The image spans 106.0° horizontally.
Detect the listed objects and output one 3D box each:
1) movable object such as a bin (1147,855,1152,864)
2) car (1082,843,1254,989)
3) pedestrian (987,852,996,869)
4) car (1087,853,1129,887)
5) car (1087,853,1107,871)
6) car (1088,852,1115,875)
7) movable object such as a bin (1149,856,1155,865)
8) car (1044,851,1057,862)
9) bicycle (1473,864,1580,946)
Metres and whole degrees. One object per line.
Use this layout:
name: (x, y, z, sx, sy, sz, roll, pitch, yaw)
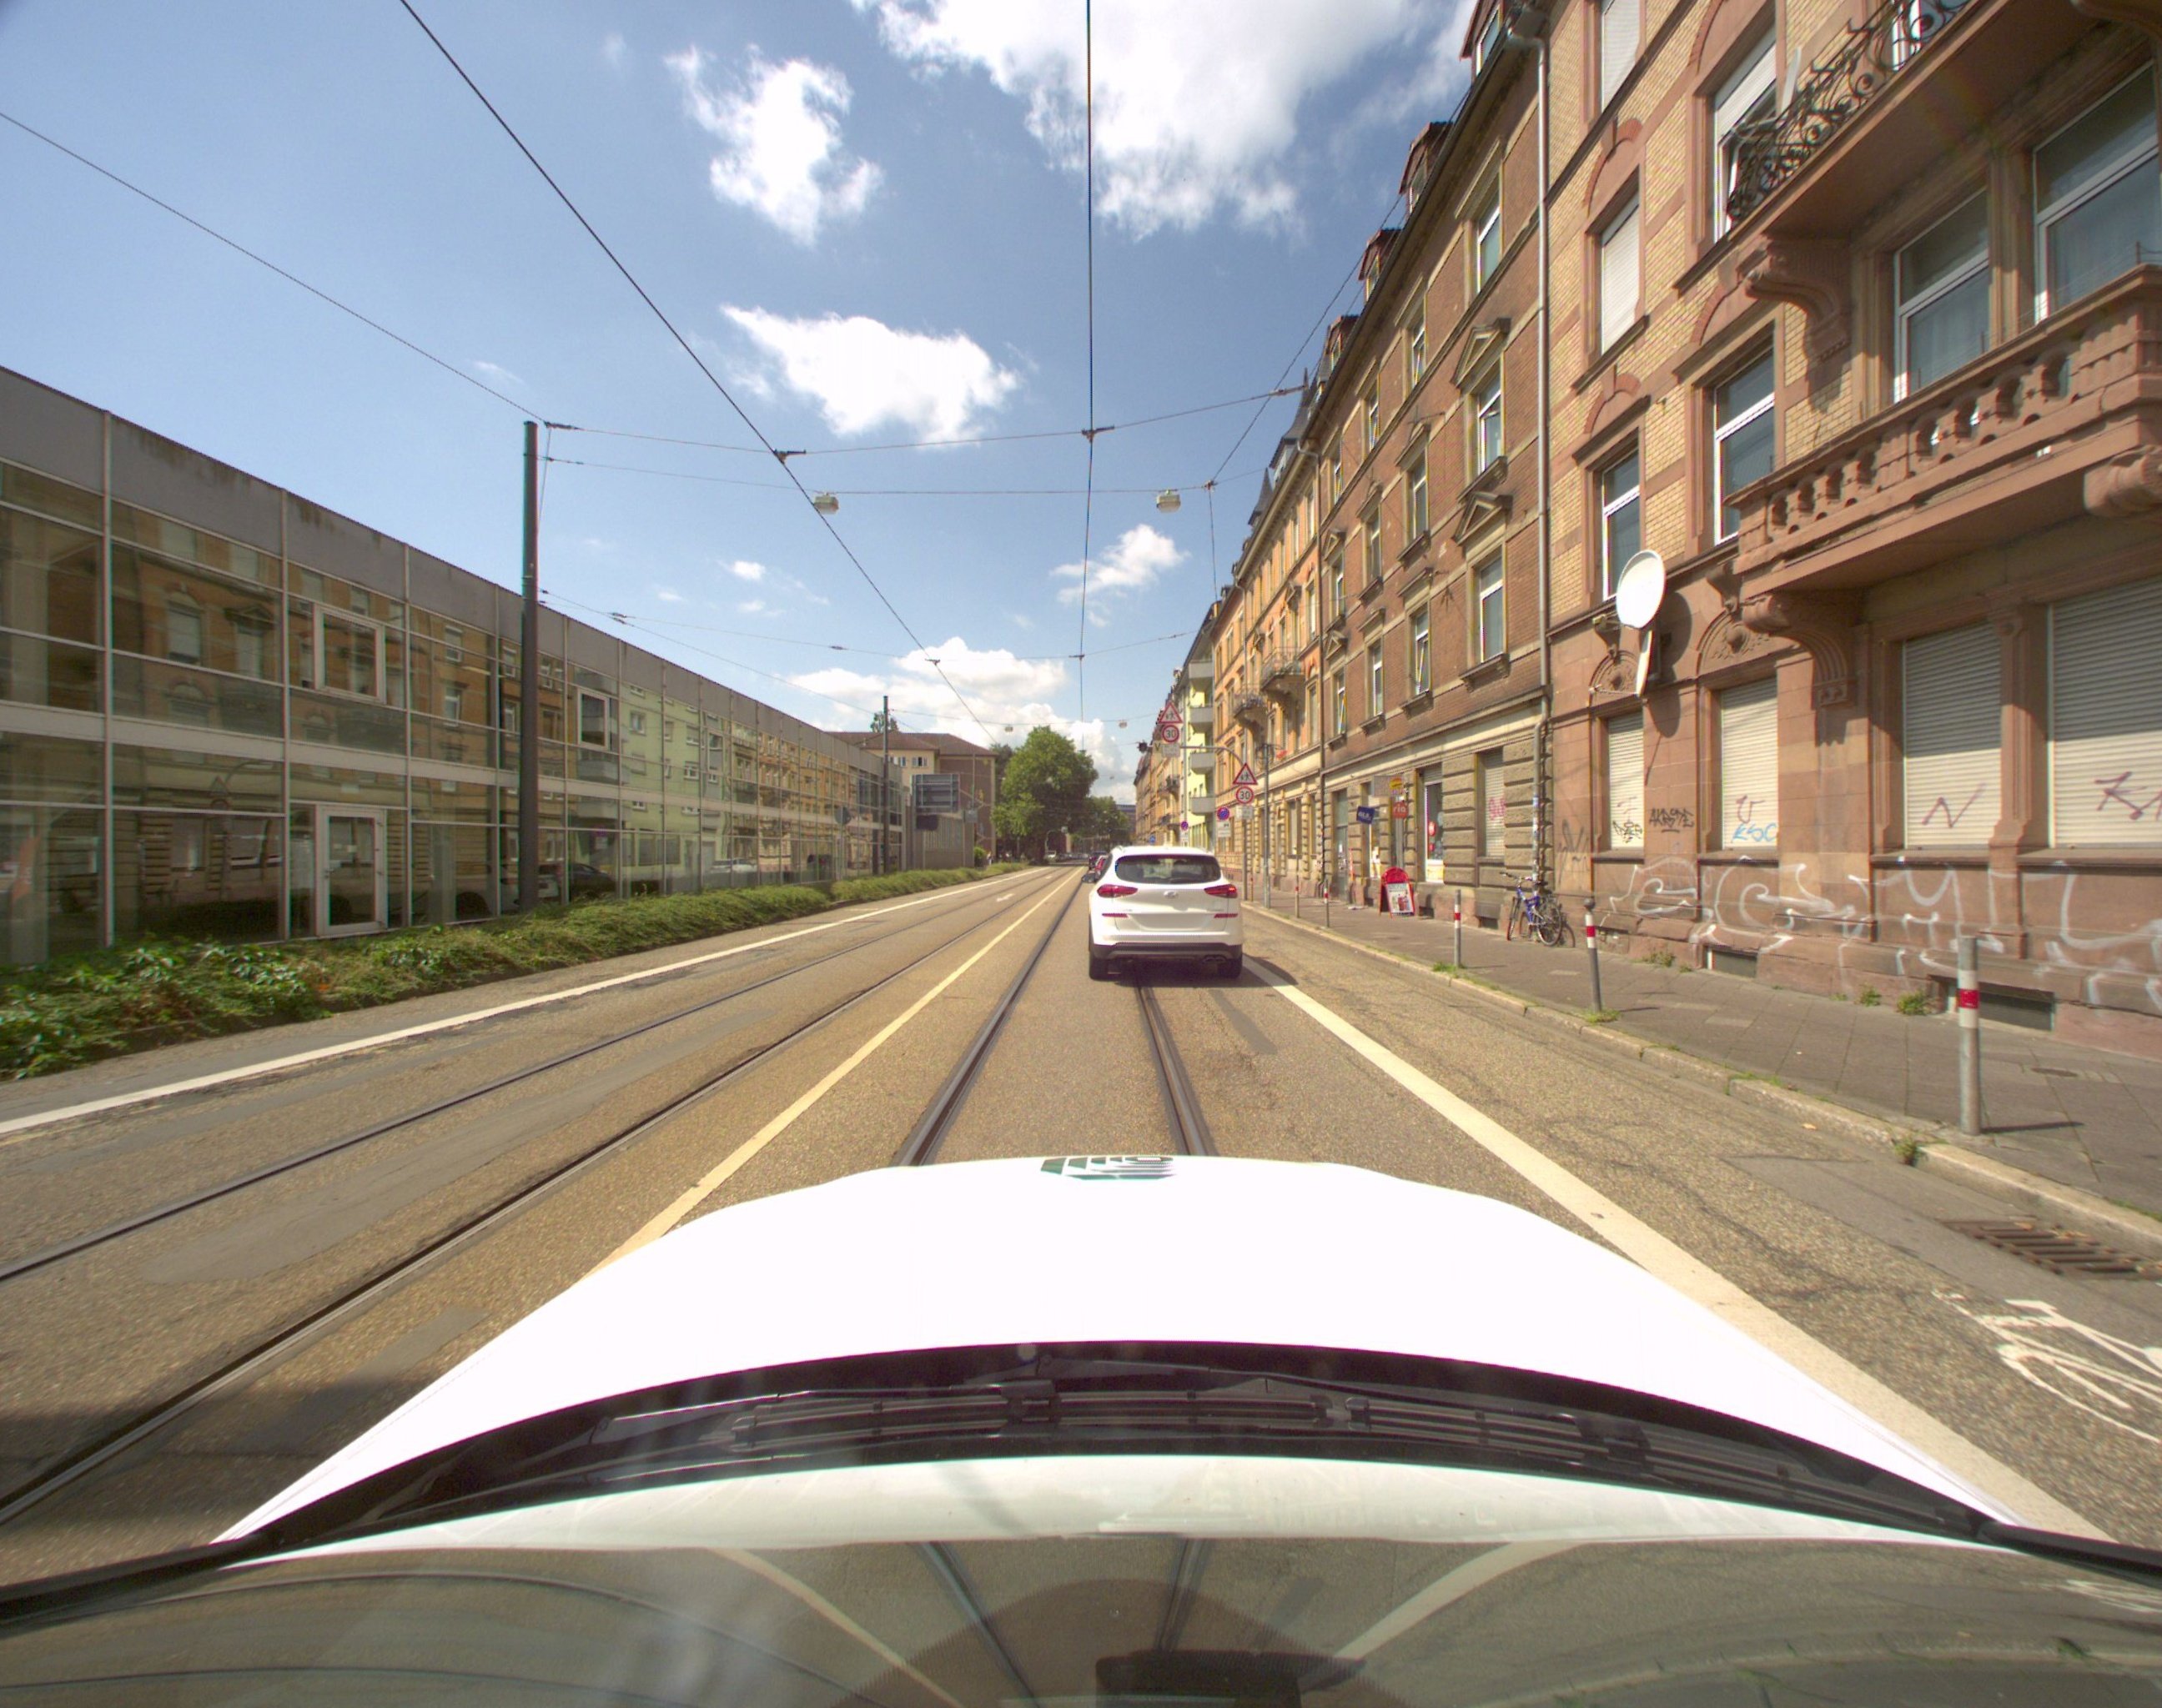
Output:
movable object such as a bin: (8.650, 0.680, 103.348, 0.610, 1.143, 0.639, 0, 0, 1)
car: (0.991, 0.696, 11.299, 1.847, 1.634, 4.178, 1, 0, -1)
pedestrian: (-10.114, 0.767, 92.033, 0.877, 1.865, 1.081, -1, 0, 1)
car: (1.343, 0.707, 39.019, 1.806, 1.524, 4.090, -1, 0, 4)
car: (1.497, 0.725, 76.084, 1.808, 1.661, 4.086, 0, 0, 1)
car: (1.426, 0.626, 56.872, 1.808, 1.524, 3.956, -1, 0, 1)
movable object such as a bin: (8.879, 0.769, 101.914, 0.610, 1.143, 0.639, 0, 0, 1)
car: (-5.137, 0.423, 138.151, 1.943, 1.895, 4.566, 0, 0, 1)
bicycle: (7.118, 0.770, 13.143, 0.584, 1.178, 2.206, -1, 0, 2)
